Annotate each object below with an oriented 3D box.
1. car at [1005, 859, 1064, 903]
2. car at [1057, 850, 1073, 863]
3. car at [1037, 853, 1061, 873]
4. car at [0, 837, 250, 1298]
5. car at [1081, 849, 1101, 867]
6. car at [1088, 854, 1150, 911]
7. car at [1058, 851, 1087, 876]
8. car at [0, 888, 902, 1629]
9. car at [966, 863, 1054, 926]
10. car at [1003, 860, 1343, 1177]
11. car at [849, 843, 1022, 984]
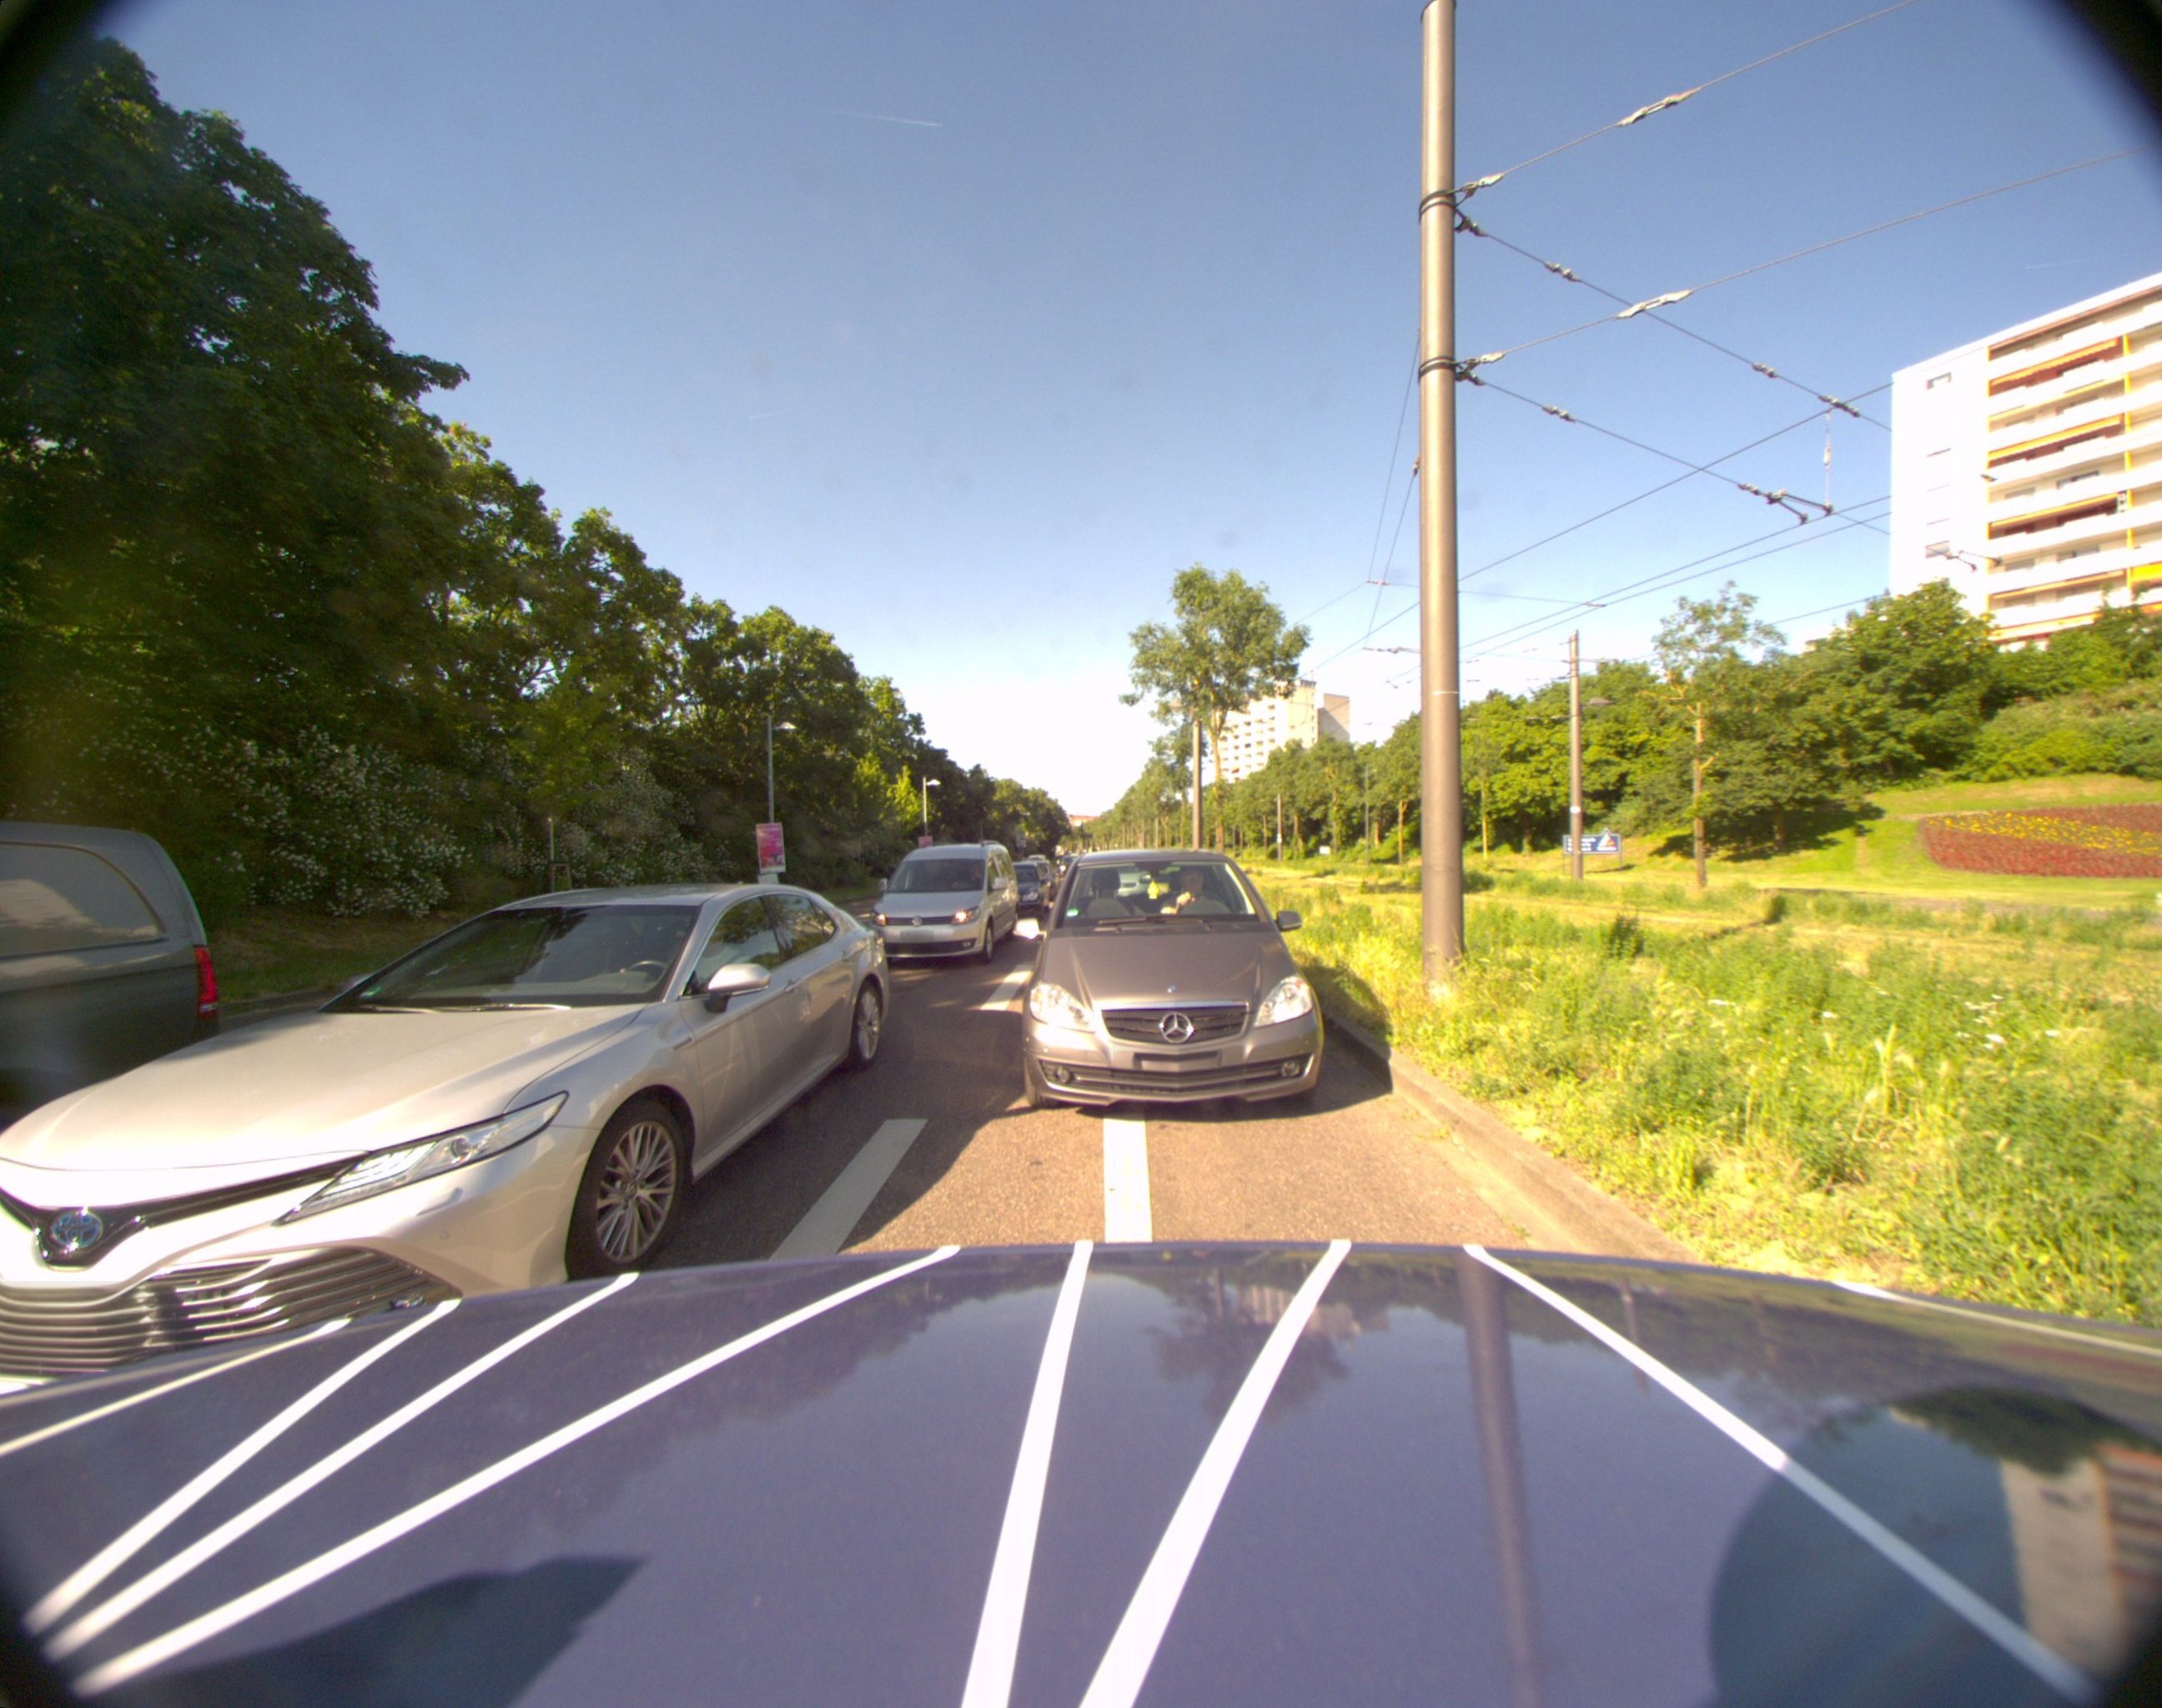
[{"bbox_3d":[-1.607,0.911,27.527,1.776,1.395,4.067,-1,0,2],"label":"car"},{"bbox_3d":[-2.006,0.289,94.287,1.777,1.597,4.300,-1,0,1],"label":"car"},{"bbox_3d":[-2.732,0.756,65.171,1.777,1.597,4.384,-1,0,1],"label":"car"},{"bbox_3d":[-5.461,0.893,1.438,1.998,1.882,5.148,-1,0,1],"label":"car"},{"bbox_3d":[0.907,0.337,69.999,1.777,1.597,4.384,-1,0,1],"label":"car"},{"bbox_3d":[1.126,0.833,24.051,1.777,1.597,4.384,-1,0,1],"label":"car"},{"bbox_3d":[-0.534,0.592,51.202,1.777,1.597,4.384,-1,0,1],"label":"car"},{"bbox_3d":[-2.644,1.044,4.121,2.069,1.451,4.749,-1,0,2],"label":"car"},{"bbox_3d":[-1.721,0.966,19.714,1.776,1.395,4.067,-1,0,2],"label":"car"},{"bbox_3d":[0.517,0.894,6.205,1.777,1.597,4.384,-1,0,1],"label":"car"},{"bbox_3d":[-2.152,0.793,12.619,1.822,1.893,4.622,-1,0,2],"label":"car"}]
